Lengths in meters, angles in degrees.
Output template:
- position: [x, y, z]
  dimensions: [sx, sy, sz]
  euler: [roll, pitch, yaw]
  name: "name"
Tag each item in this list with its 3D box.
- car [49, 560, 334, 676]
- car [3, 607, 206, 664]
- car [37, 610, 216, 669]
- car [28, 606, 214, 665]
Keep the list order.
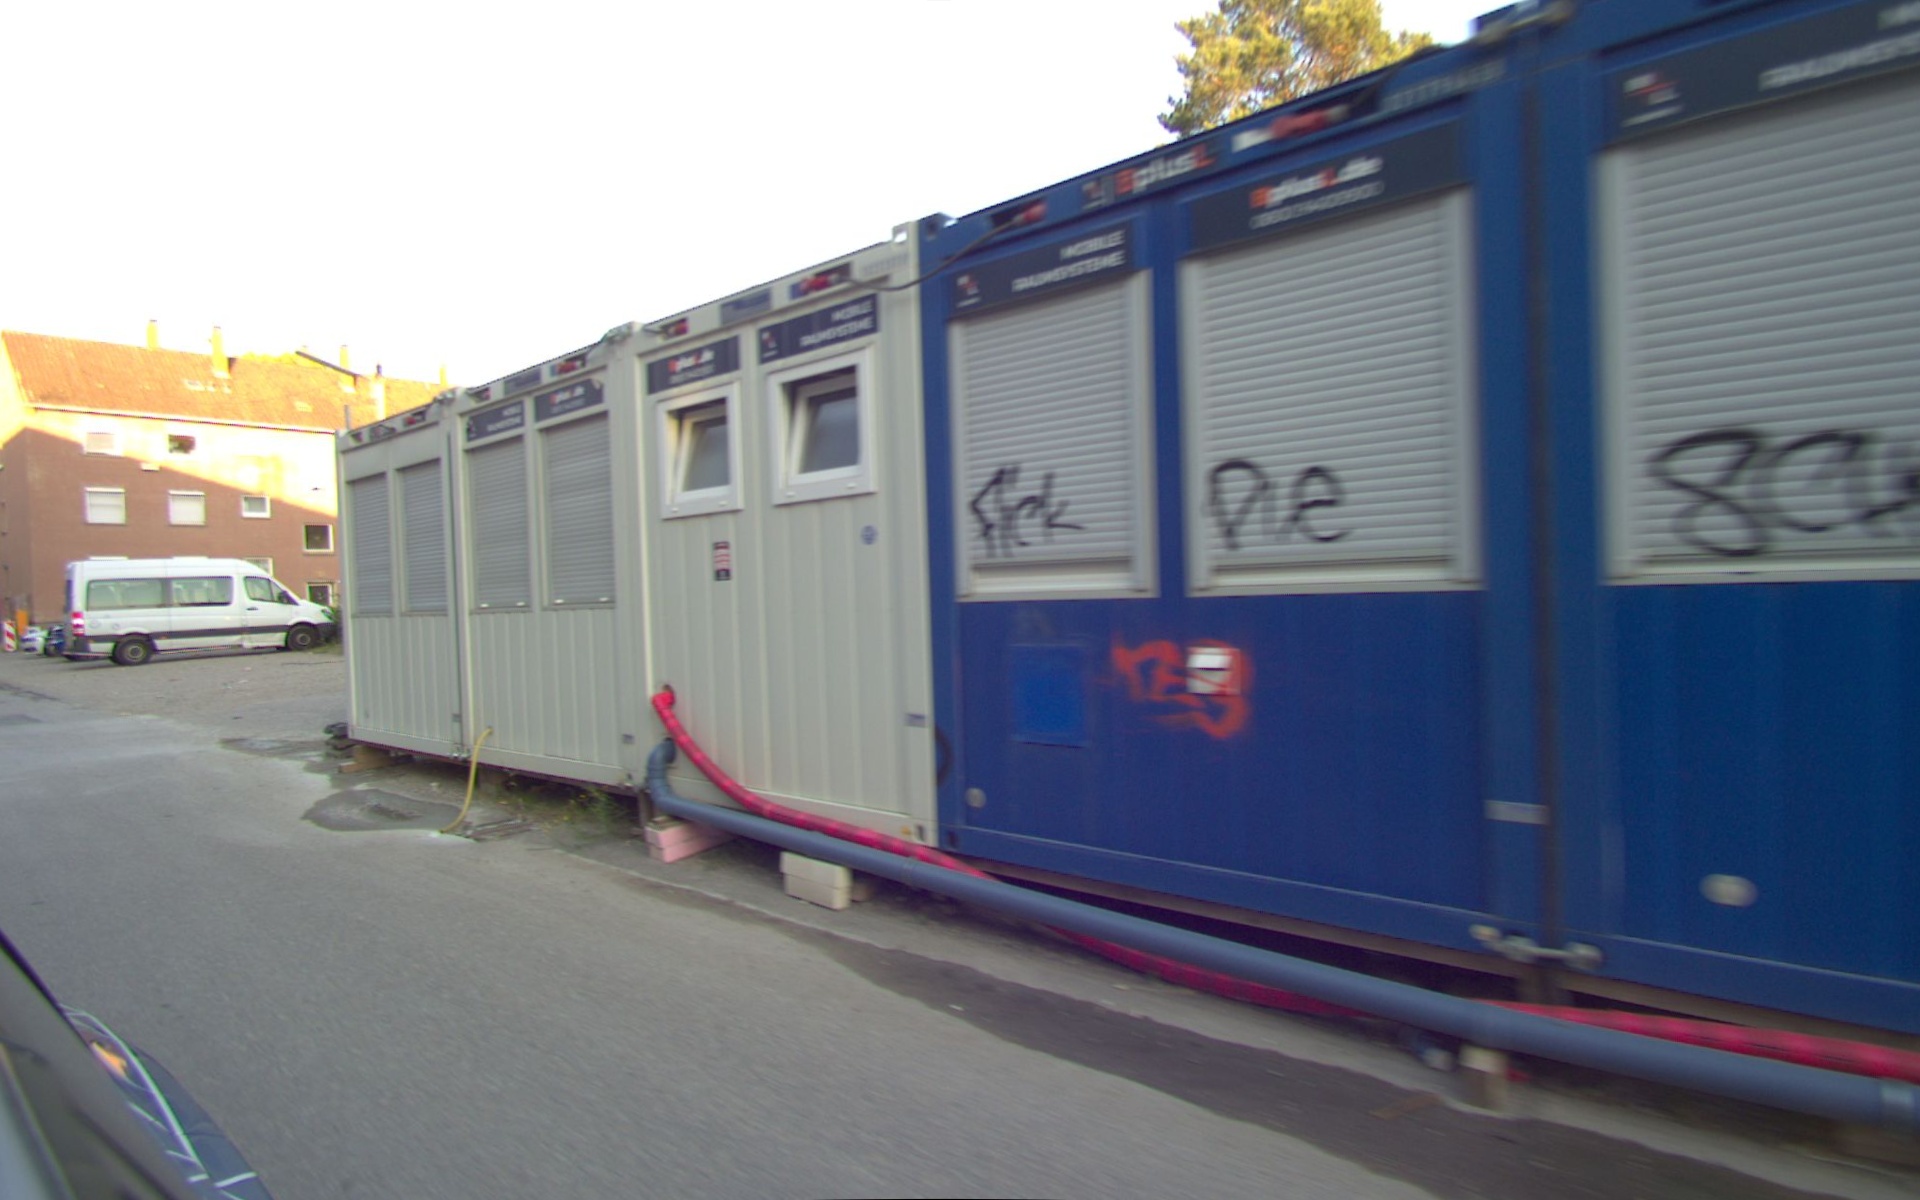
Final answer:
- position: [-20.211, 0.362, 26.859]
  dimensions: [2.221, 2.645, 5.629]
  euler: [-1, 2, 42]
  name: "car"
- position: [-29.377, 1.177, 34.918]
  dimensions: [2.112, 1.556, 4.949]
  euler: [-1, 2, 36]
  name: "car"
- position: [-24.849, 1.125, 30.274]
  dimensions: [1.725, 1.440, 3.801]
  euler: [-1, 2, 38]
  name: "car"
- position: [-27.308, 1.113, 33.073]
  dimensions: [1.725, 1.556, 4.376]
  euler: [-1, 2, 37]
  name: "car"
